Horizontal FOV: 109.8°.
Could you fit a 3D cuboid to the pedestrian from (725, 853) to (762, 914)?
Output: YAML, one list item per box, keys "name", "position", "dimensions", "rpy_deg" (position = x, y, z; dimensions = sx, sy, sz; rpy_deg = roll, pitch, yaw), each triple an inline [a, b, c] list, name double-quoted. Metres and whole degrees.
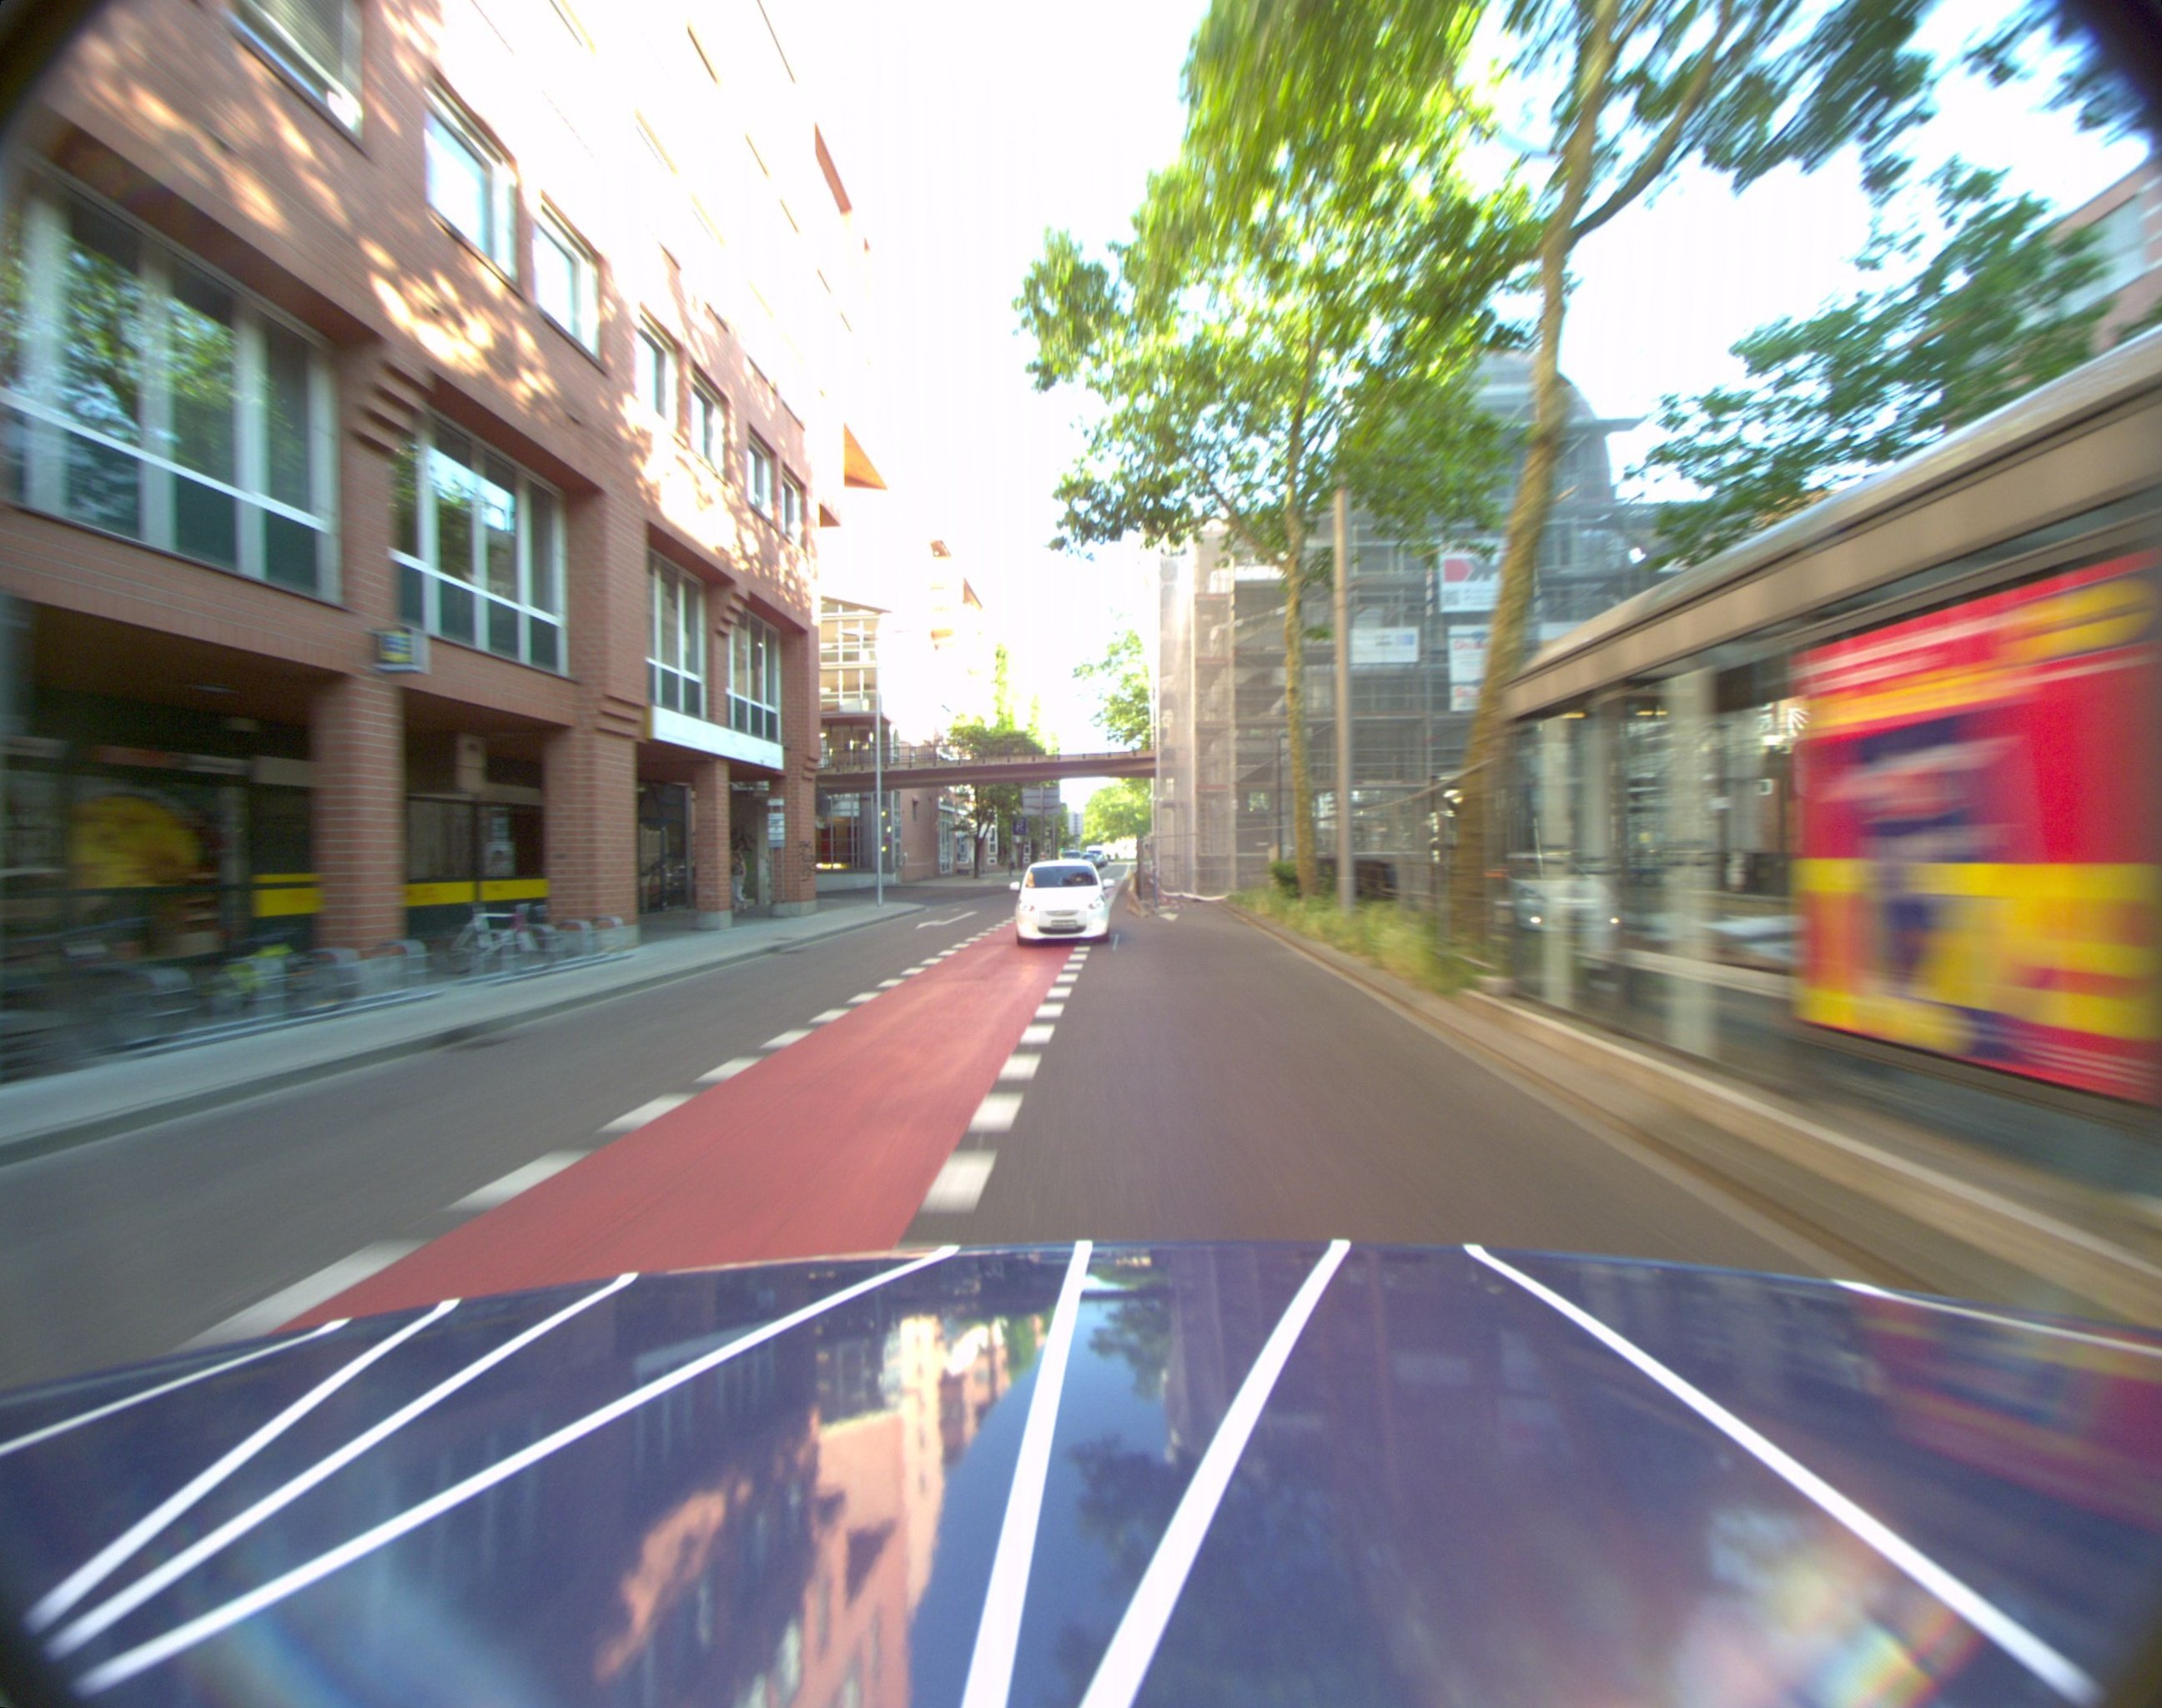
- name: "pedestrian"
  position: [-9.260, 0.804, 20.867]
  dimensions: [0.570, 1.624, 0.778]
  rpy_deg: [-2, 1, 3]

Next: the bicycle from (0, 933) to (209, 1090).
- name: "bicycle"
  position: [-8.174, 1.222, 6.085]
  dimensions: [1.936, 1.051, 0.573]
  rpy_deg: [1, 1, 7]

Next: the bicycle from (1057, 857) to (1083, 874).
- name: "bicycle"
  position: [-0.727, 0.767, 48.671]
  dimensions: [1.678, 1.061, 0.502]
  rpy_deg: [-1, 1, 38]

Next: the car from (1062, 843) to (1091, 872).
- name: "car"
  position: [-0.304, 0.235, 58.814]
  dimensions: [1.923, 2.066, 5.171]
  rpy_deg: [-1, 0, 3]

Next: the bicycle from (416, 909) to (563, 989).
- name: "bicycle"
  position: [-7.959, 1.259, 10.252]
  dimensions: [1.614, 0.949, 0.555]
  rpy_deg: [2, 1, 6]

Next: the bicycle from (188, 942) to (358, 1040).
- name: "bicycle"
  position: [-7.989, 1.335, 7.526]
  dimensions: [1.336, 0.836, 0.425]
  rpy_deg: [2, 1, 6]

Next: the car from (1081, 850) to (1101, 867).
- name: "car"
  position: [1.008, 0.444, 76.275]
  dimensions: [1.832, 1.570, 4.001]
  rpy_deg: [-1, 0, 3]

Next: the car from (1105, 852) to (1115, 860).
- name: "car"
  position: [6.043, 0.417, 157.549]
  dimensions: [1.998, 1.524, 4.000]
  rpy_deg: [-3, 1, 3]

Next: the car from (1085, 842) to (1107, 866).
- name: "car"
  position: [1.756, -0.011, 87.473]
  dimensions: [2.119, 2.550, 5.906]
  rpy_deg: [-1, 0, 4]

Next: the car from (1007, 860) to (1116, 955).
- name: "car"
  position: [-0.303, 0.914, 14.798]
  dimensions: [1.808, 1.492, 4.200]
  rpy_deg: [-1, 0, 1]

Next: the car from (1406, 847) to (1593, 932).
- name: "car"
  position: [7.870, 0.604, 14.672]
  dimensions: [1.730, 1.437, 3.443]
  rpy_deg: [-1, 0, 1]

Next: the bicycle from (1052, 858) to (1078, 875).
- name: "bicycle"
  position: [-1.033, 0.785, 47.767]
  dimensions: [1.678, 1.061, 0.502]
  rpy_deg: [-1, 1, 38]

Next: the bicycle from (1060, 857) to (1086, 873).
- name: "bicycle"
  position: [-0.549, 0.747, 50.903]
  dimensions: [1.678, 1.061, 0.512]
  rpy_deg: [-1, 1, 27]

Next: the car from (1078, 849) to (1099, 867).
- name: "car"
  position: [0.729, 0.353, 70.886]
  dimensions: [1.791, 1.660, 4.441]
  rpy_deg: [-1, 0, 3]
